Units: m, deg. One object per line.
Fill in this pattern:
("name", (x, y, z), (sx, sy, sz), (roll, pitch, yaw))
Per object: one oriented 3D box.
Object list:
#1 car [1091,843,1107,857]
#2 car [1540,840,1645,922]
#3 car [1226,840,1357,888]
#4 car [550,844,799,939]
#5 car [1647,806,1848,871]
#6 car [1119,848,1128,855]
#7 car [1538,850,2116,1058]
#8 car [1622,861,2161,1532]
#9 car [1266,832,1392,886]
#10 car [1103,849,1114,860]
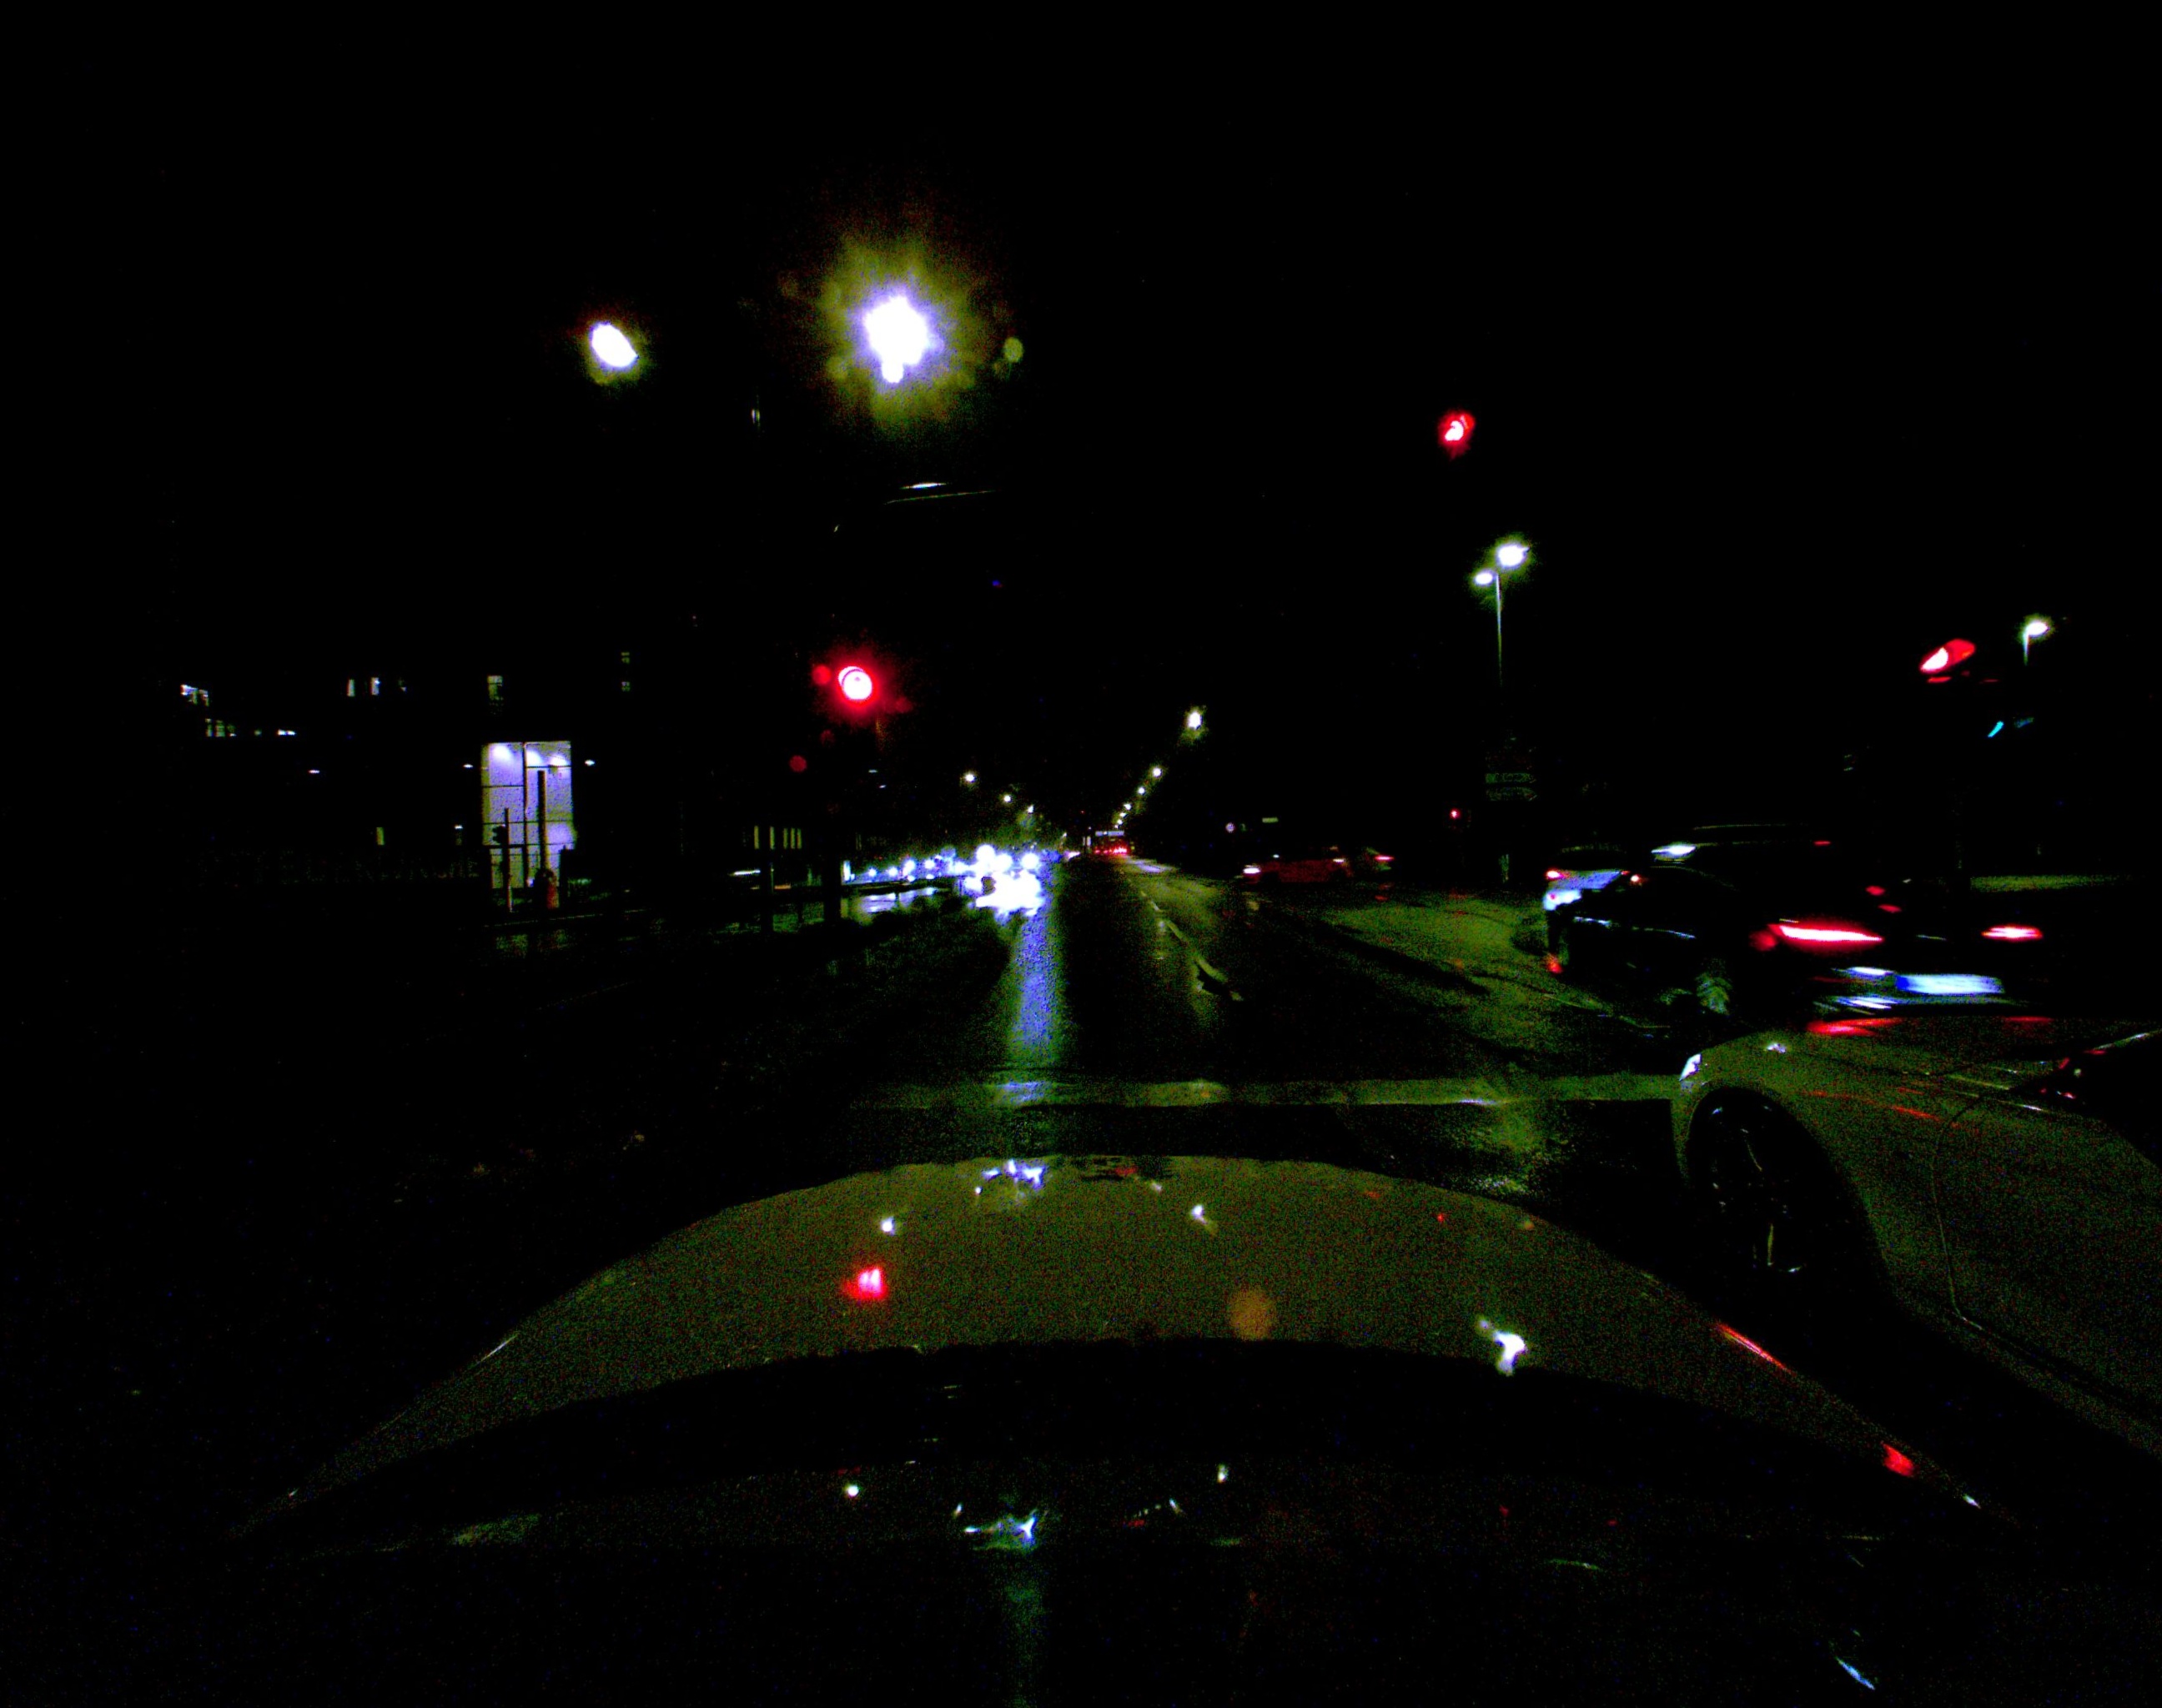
("car", (2.549, -0.552, 116.987), (1.988, 2.014, 4.629), (0, -1, -1))
("car", (10.414, 0.496, 16.495), (1.617, 1.459, 3.616), (-1, -1, 34))
("car", (7.305, 0.354, 28.471), (4.058, 1.588, 1.910), (0, 0, -3))
("car", (-8.514, 0.715, 17.531), (1.836, 1.749, 4.534), (-1, -1, 29))
("car", (22.834, -0.518, 28.104), (5.066, 1.984, 2.004), (-2, 0, 6))
("car", (10.312, -0.549, 197.174), (1.986, 1.759, 4.001), (0, -1, 2))
("car", (6.354, 0.671, 7.848), (1.743, 1.390, 4.574), (0, 0, 6))
("car", (3.120, 0.720, 1.316), (1.710, 1.404, 4.351), (0, 0, 2))
("car", (10.435, 0.230, 34.239), (4.869, 2.145, 2.153), (-1, -1, 22))
("car", (4.964, 0.088, 147.771), (1.784, 1.874, 4.628), (0, -1, 1))
